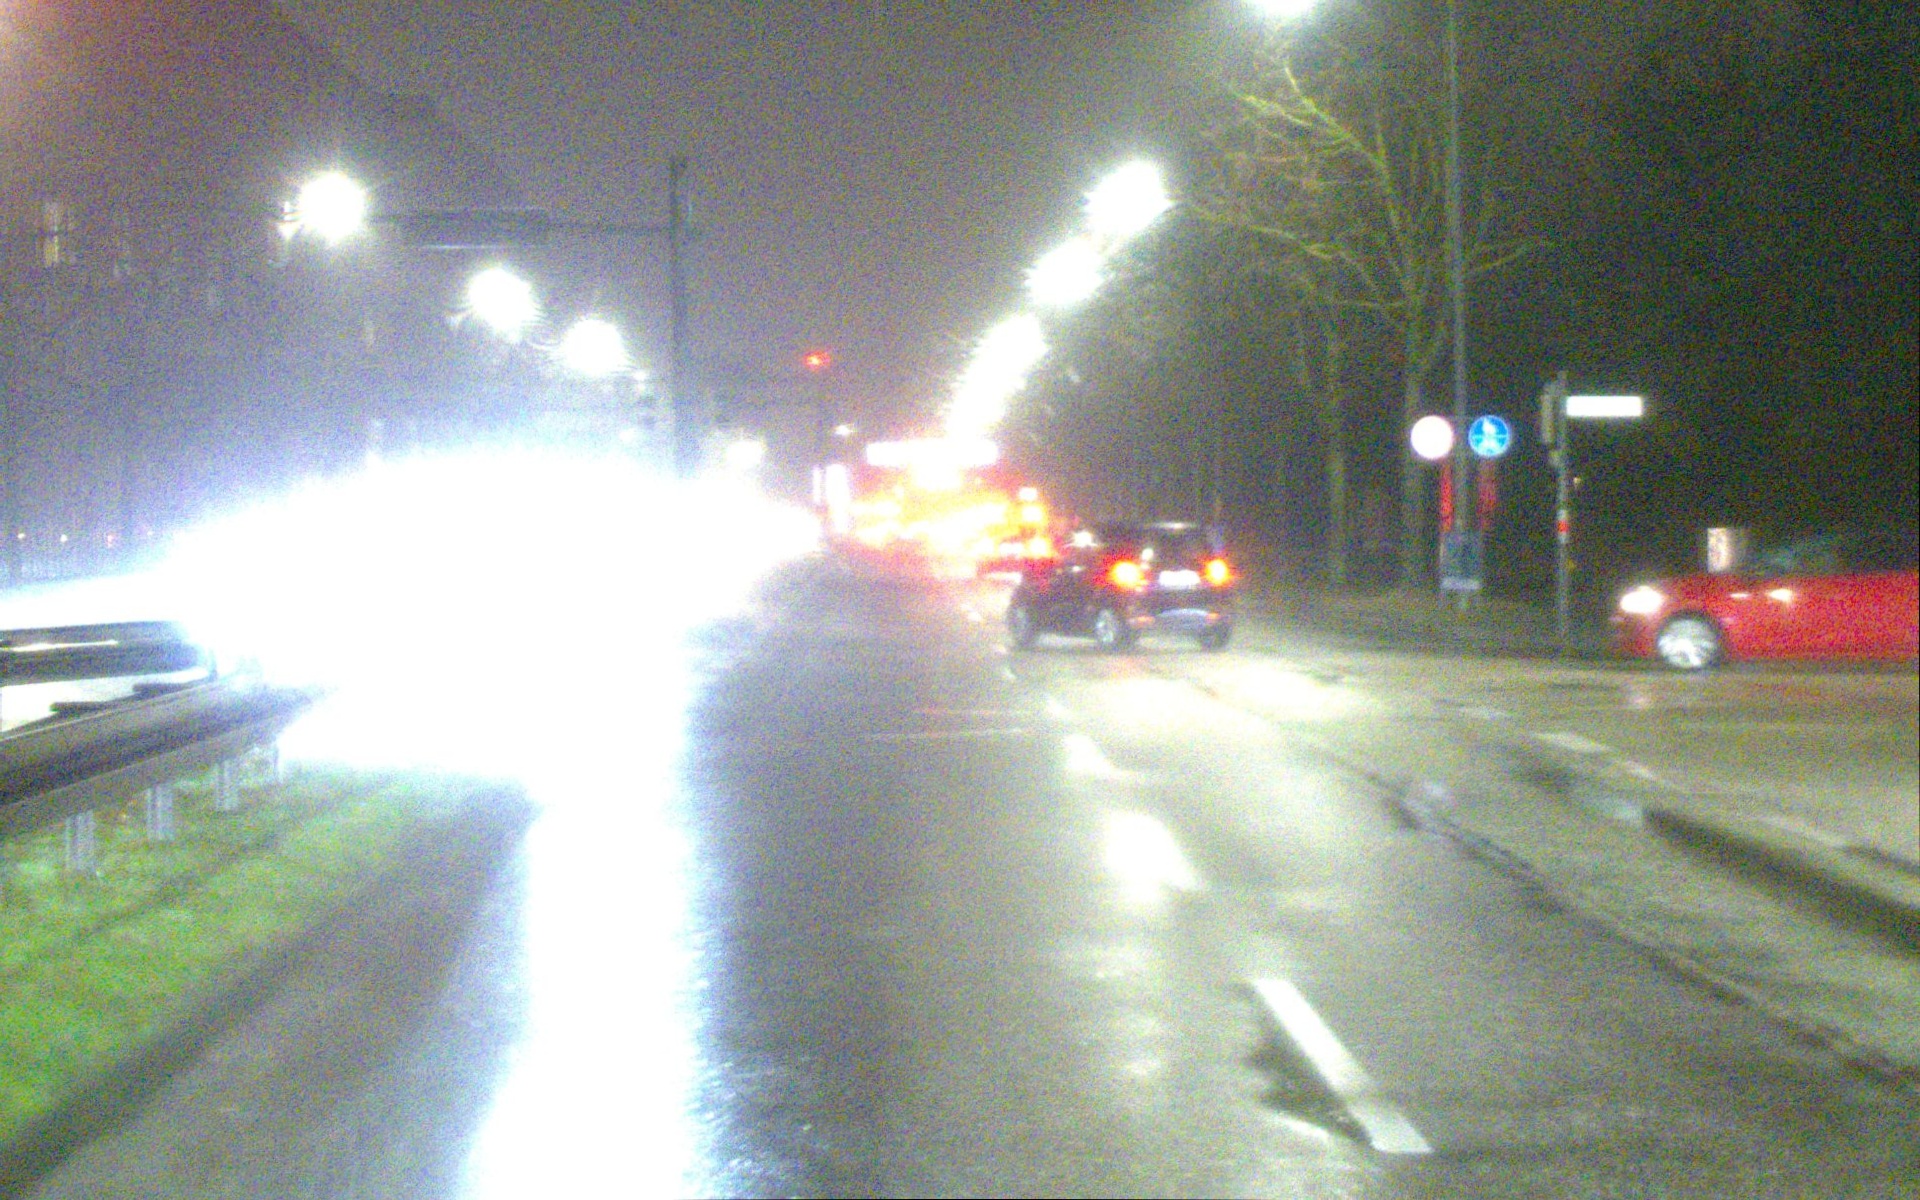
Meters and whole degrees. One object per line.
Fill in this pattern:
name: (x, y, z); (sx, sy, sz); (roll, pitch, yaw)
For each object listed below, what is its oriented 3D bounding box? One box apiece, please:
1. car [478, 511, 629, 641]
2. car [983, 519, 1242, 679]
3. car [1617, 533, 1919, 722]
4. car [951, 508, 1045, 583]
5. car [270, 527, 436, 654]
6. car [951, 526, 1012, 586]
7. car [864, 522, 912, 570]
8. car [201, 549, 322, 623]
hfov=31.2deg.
car: (-6.521, -0.397, 55.511); (1.993, 2.007, 4.000); (-1, 1, -1)
car: (1.783, -0.030, 41.257); (1.681, 1.831, 3.429); (0, 0, -26)
car: (8.638, 0.247, 33.076); (4.342, 1.749, 1.983); (0, 0, 18)
car: (0.891, -1.310, 83.697); (1.902, 1.774, 4.001); (0, 0, -5)
car: (-9.116, -0.159, 51.906); (1.783, 1.809, 4.000); (-1, 1, 0)
car: (0.790, -1.636, 128.028); (2.208, 2.207, 3.643); (0, 0, 0)
car: (-3.047, -2.294, 145.925); (1.993, 2.007, 4.000); (0, 0, -1)
car: (-15.505, -0.317, 76.486); (1.847, 1.585, 4.353); (0, 0, -1)
